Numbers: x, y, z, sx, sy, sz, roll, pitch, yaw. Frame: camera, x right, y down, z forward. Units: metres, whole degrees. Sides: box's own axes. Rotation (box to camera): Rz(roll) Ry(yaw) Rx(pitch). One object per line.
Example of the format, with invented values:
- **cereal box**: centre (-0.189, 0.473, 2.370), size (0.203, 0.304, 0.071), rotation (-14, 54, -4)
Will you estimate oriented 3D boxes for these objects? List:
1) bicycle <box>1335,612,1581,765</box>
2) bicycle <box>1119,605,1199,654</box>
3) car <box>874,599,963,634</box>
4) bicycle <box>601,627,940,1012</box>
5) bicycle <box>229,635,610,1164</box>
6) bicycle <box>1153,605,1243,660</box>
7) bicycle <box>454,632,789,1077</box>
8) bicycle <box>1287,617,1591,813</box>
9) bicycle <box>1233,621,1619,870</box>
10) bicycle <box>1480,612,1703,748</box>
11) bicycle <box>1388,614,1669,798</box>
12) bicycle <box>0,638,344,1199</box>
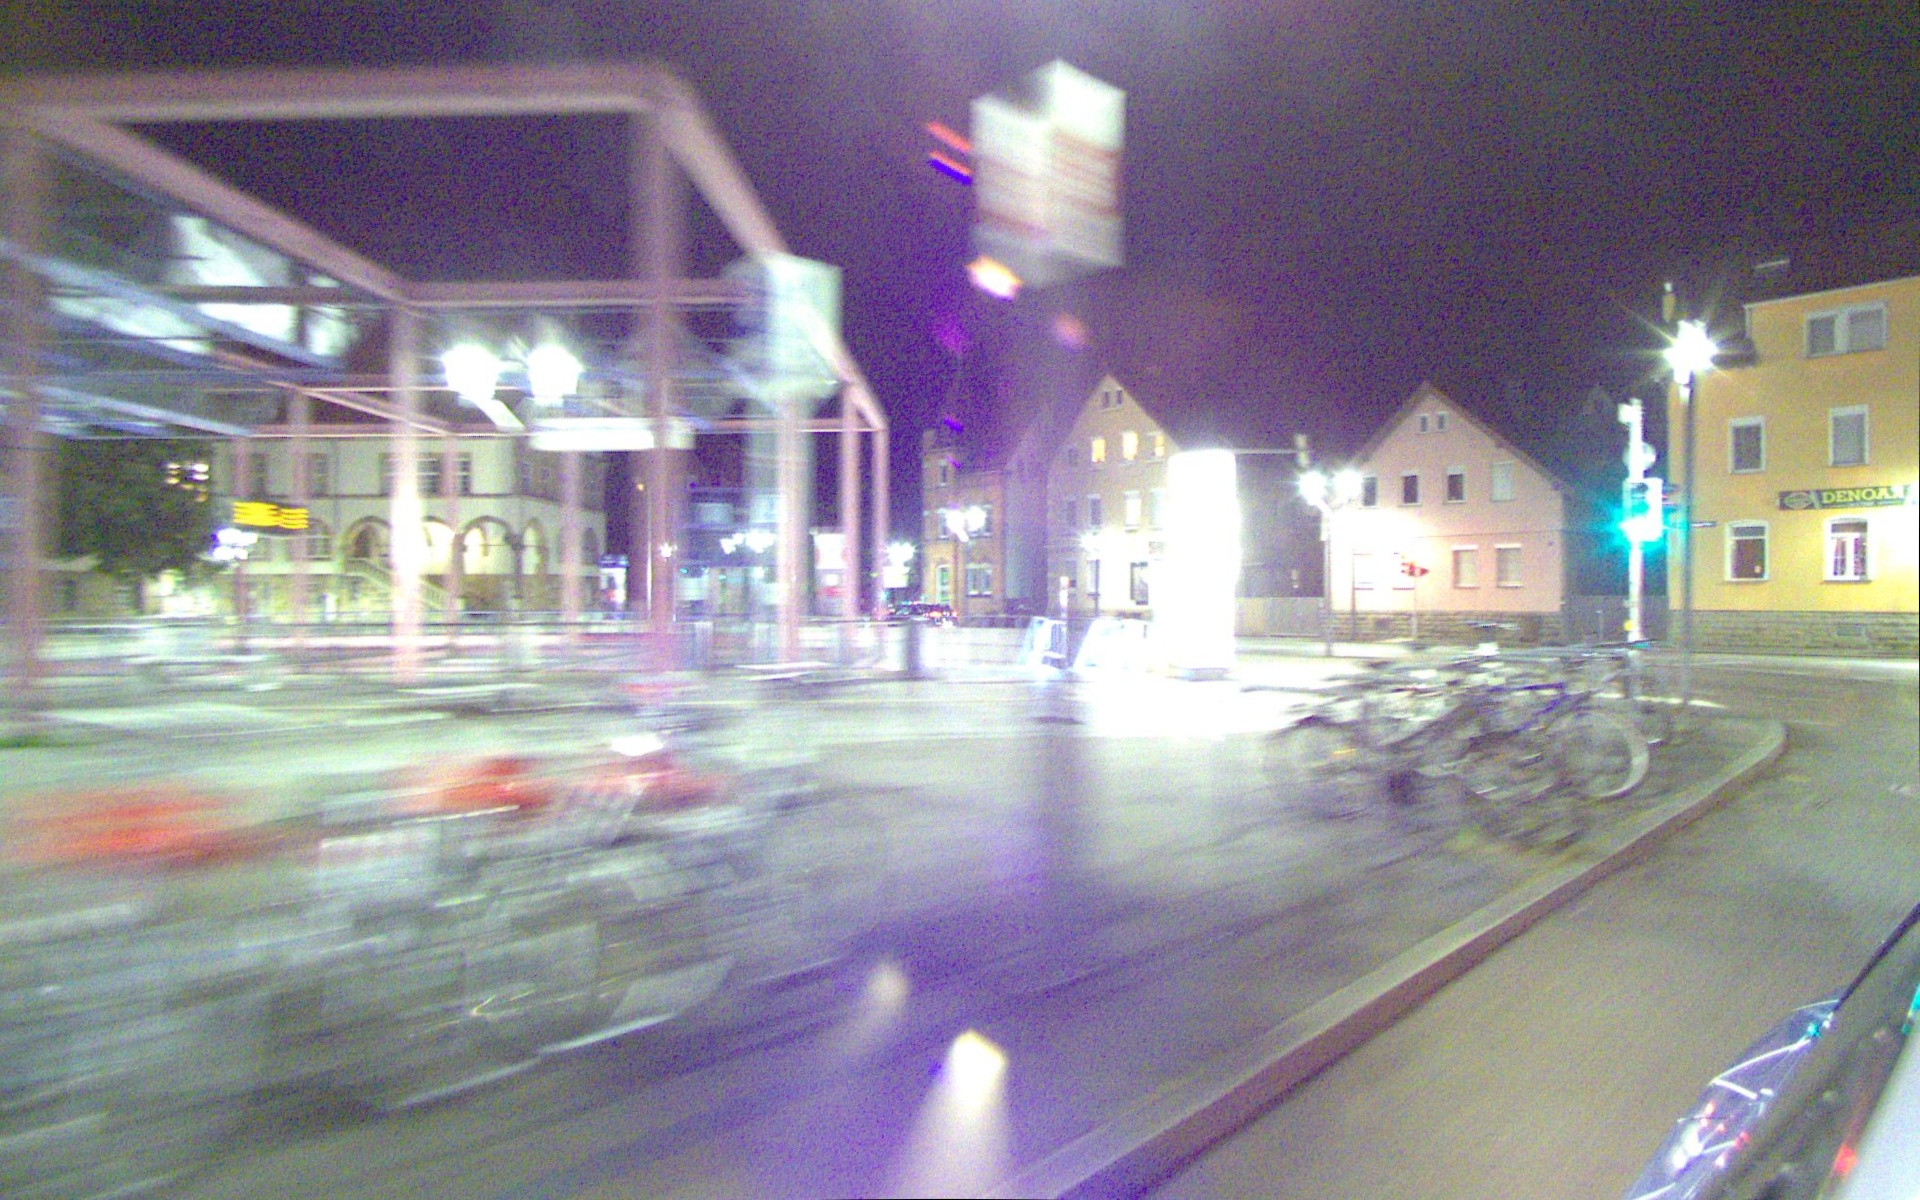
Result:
- **bicycle**: centre (4.224, 0.692, 8.685), size (0.675, 1.155, 1.770), rotation (0, 0, -44)
- **bicycle**: centre (4.811, 0.708, 24.496), size (1.767, 1.142, 0.651), rotation (0, -1, -4)
- **car**: centre (-2.006, 0.764, 48.341), size (4.222, 1.605, 1.717), rotation (0, 0, 40)
- **bicycle**: centre (-0.847, 0.715, 4.064), size (0.572, 1.166, 1.776), rotation (0, 0, -39)
- **bicycle**: centre (-1.778, 0.723, 3.182), size (0.573, 1.166, 1.772), rotation (0, 0, -45)
- **bicycle**: centre (5.136, 0.696, 21.878), size (1.767, 1.142, 0.651), rotation (0, -1, -4)
- **bicycle**: centre (-1.309, 0.727, 3.658), size (0.572, 1.166, 1.776), rotation (0, 0, -39)
- **bicycle**: centre (3.232, 0.709, 6.956), size (1.788, 1.149, 0.619), rotation (0, 0, 45)
- **bicycle**: centre (2.569, 0.714, 5.747), size (1.865, 1.149, 0.713), rotation (0, 0, 45)
- **bicycle**: centre (5.979, 0.703, 9.642), size (0.814, 1.155, 1.656), rotation (0, 0, -44)
- **bicycle**: centre (4.041, 0.690, 7.291), size (0.632, 1.149, 1.655), rotation (0, 0, -44)
- **bicycle**: centre (-2.256, 0.718, 2.744), size (0.604, 1.166, 1.772), rotation (0, 0, -45)
